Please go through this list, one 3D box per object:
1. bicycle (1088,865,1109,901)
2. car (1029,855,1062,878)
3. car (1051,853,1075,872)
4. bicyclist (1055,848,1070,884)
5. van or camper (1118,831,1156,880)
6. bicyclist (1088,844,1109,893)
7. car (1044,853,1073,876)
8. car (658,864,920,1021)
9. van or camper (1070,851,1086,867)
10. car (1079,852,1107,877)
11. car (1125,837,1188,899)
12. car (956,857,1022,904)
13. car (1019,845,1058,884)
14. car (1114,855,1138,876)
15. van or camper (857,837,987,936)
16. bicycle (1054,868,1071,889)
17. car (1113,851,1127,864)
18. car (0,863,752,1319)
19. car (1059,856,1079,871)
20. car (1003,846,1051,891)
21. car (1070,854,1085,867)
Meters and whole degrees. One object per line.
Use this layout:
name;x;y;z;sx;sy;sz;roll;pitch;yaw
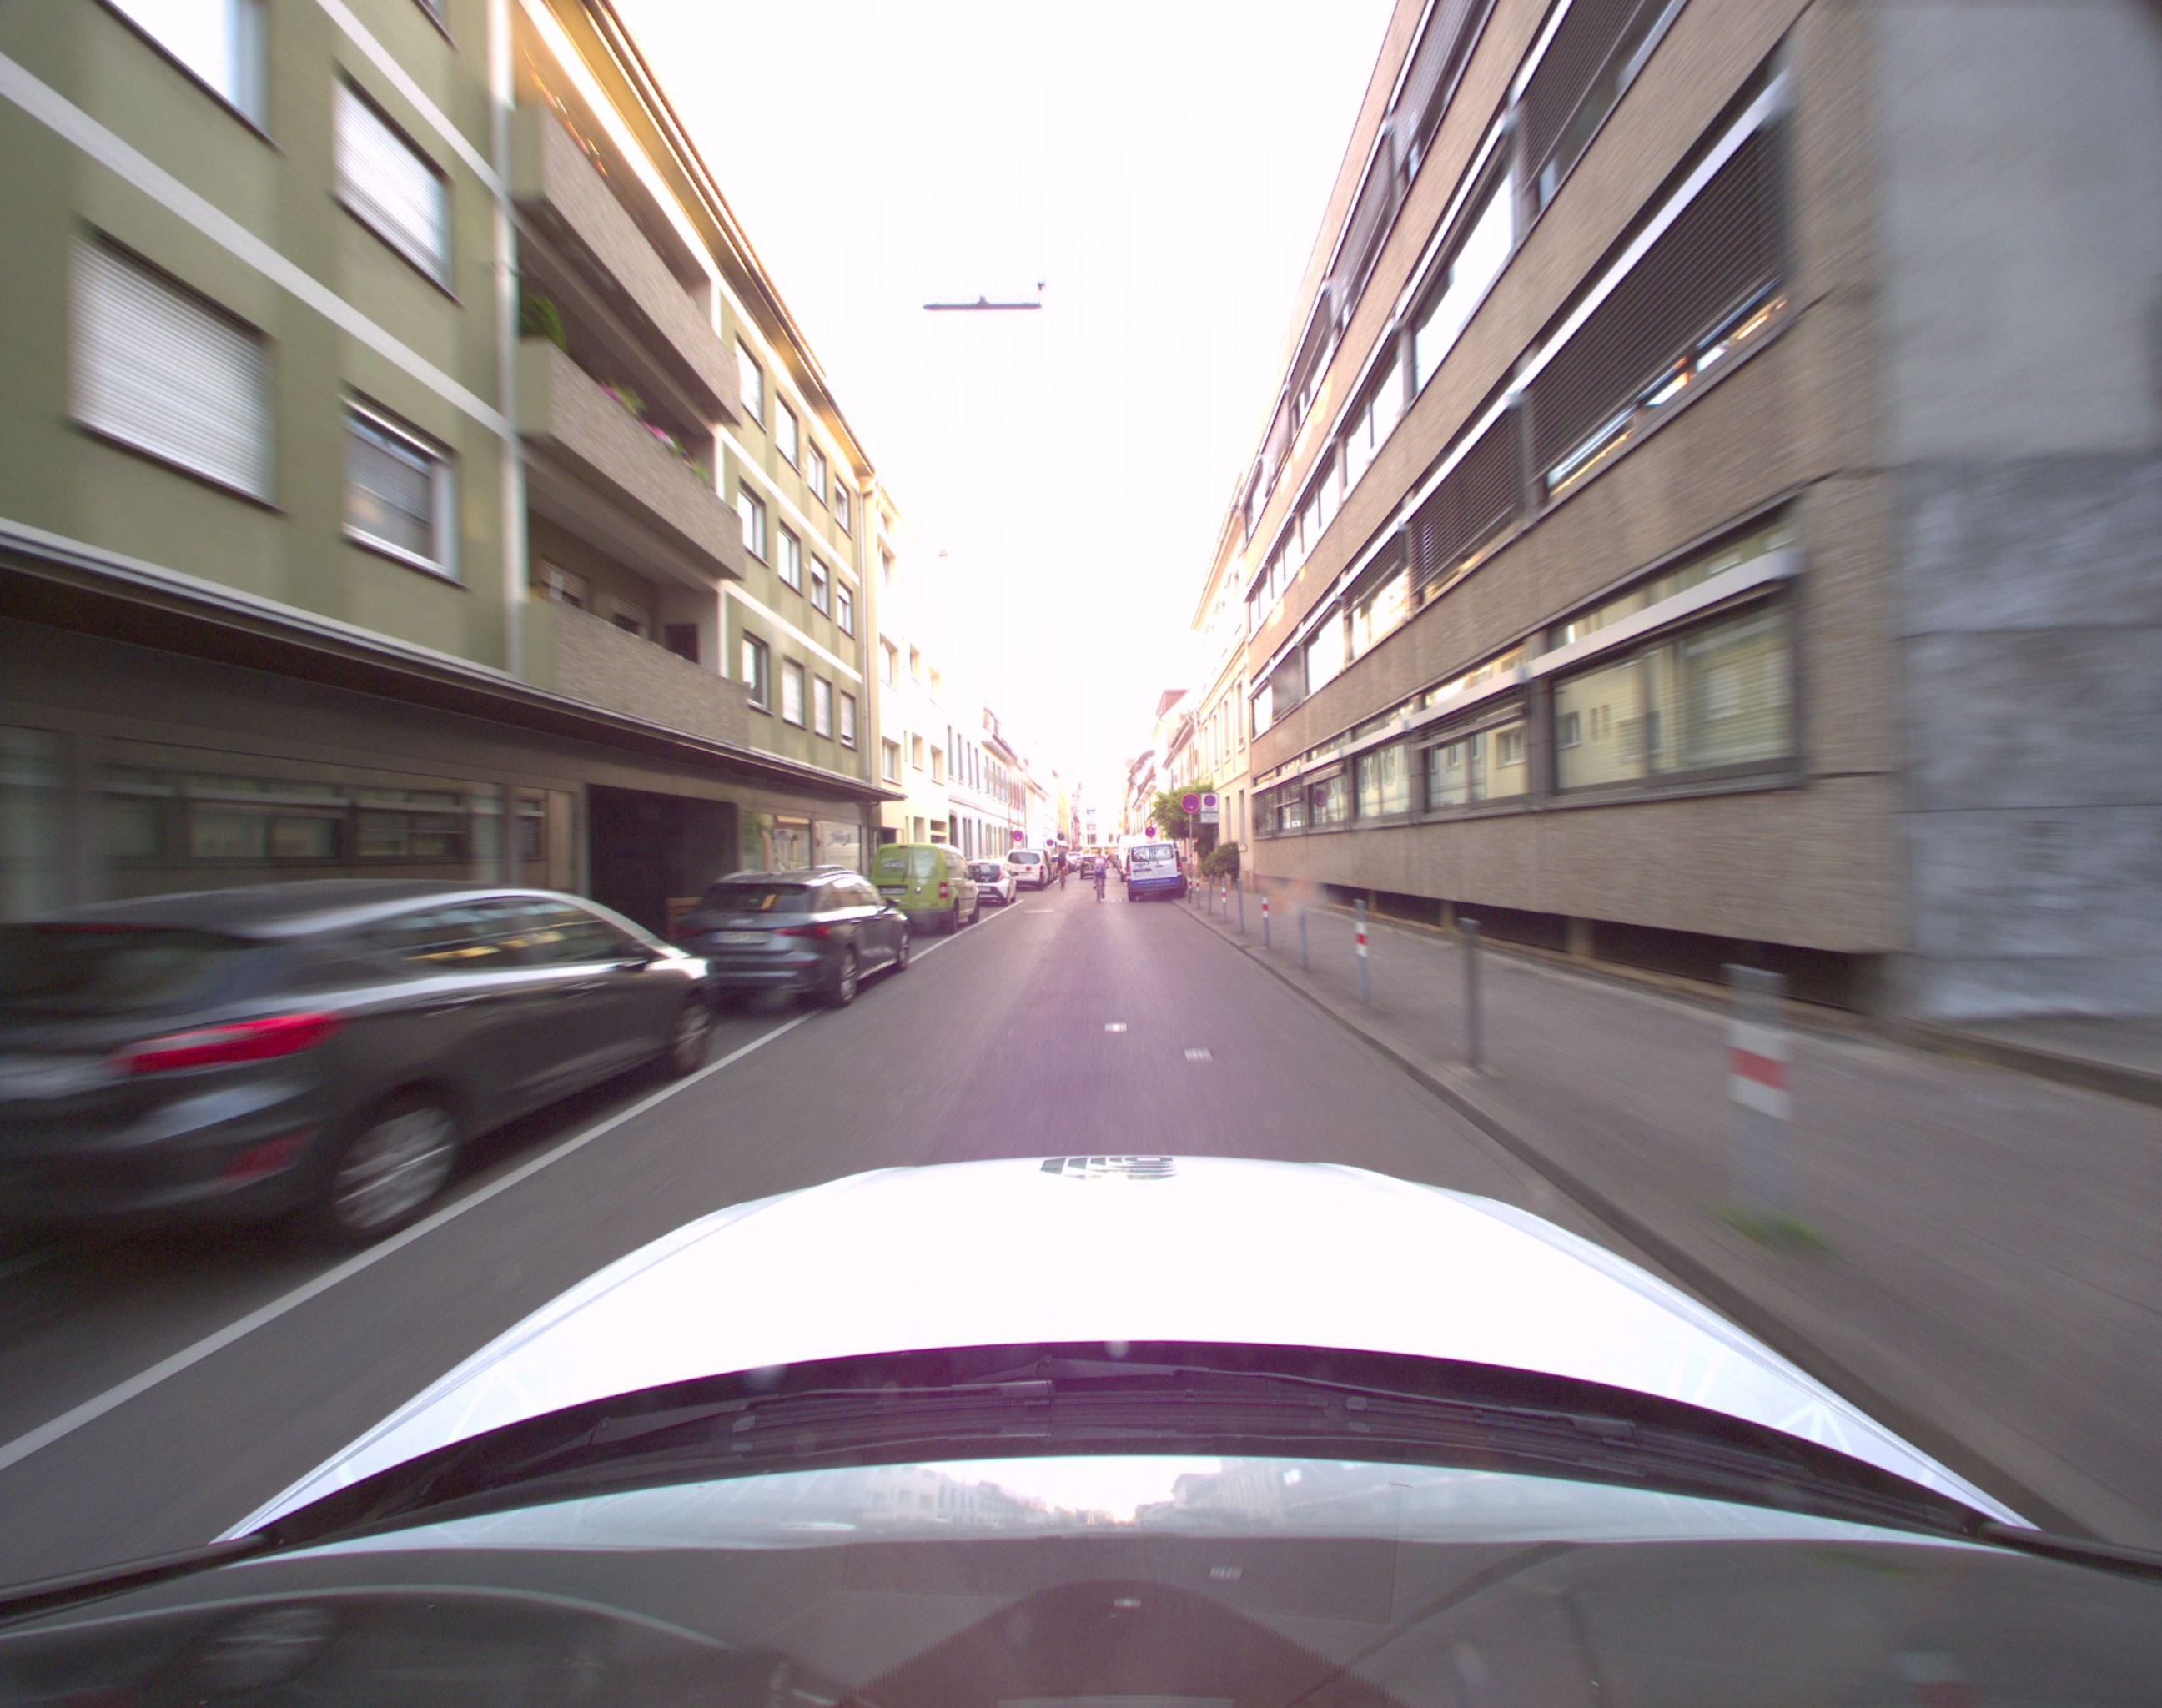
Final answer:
bicycle;0.595;0.919;26.556;0.611;1.082;1.810;-1;0;3
car;-2.300;0.816;53.411;1.758;1.401;4.265;-1;0;2
car;-1.619;0.739;75.174;1.991;1.707;4.535;-1;0;0
bicyclist;-0.868;0.556;38.181;0.621;1.639;1.082;-1;0;2
van or camper;3.293;0.064;48.657;2.042;2.637;7.068;-2;0;3
bicyclist;0.579;0.461;26.556;0.618;1.574;0.684;-1;0;3
car;-1.718;0.797;64.016;1.795;1.676;4.494;-2;0;3
car;-3.150;0.856;9.670;1.619;1.416;3.980;-1;0;0
van or camper;-0.407;0.610;104.031;1.837;2.013;4.680;-1;0;2
car;0.818;0.675;54.240;1.813;1.618;4.001;-1;0;1
car;2.622;0.447;28.651;1.927;1.898;5.283;-2;0;5
car;-2.998;0.829;27.093;1.656;1.449;3.522;1;0;1
car;-2.342;0.567;46.129;1.856;2.013;4.814;-2;0;1
car;3.831;0.945;68.587;1.812;1.530;5.075;-5;0;3
van or camper;-3.299;0.622;17.732;1.765;1.848;4.181;-2;0;3
bicycle;-0.853;1.126;38.145;0.631;0.922;1.780;-1;0;2
car;4.670;0.392;98.168;1.647;1.561;3.607;-1;0;2
car;-3.583;0.839;4.706;1.618;1.485;3.879;-2;0;2
car;-1.139;0.885;81.559;1.912;1.434;4.293;-1;0;0
car;-2.578;0.666;39.952;1.856;2.013;5.106;-2;0;1
car;-0.376;0.796;98.178;1.647;1.561;3.607;-1;0;2
